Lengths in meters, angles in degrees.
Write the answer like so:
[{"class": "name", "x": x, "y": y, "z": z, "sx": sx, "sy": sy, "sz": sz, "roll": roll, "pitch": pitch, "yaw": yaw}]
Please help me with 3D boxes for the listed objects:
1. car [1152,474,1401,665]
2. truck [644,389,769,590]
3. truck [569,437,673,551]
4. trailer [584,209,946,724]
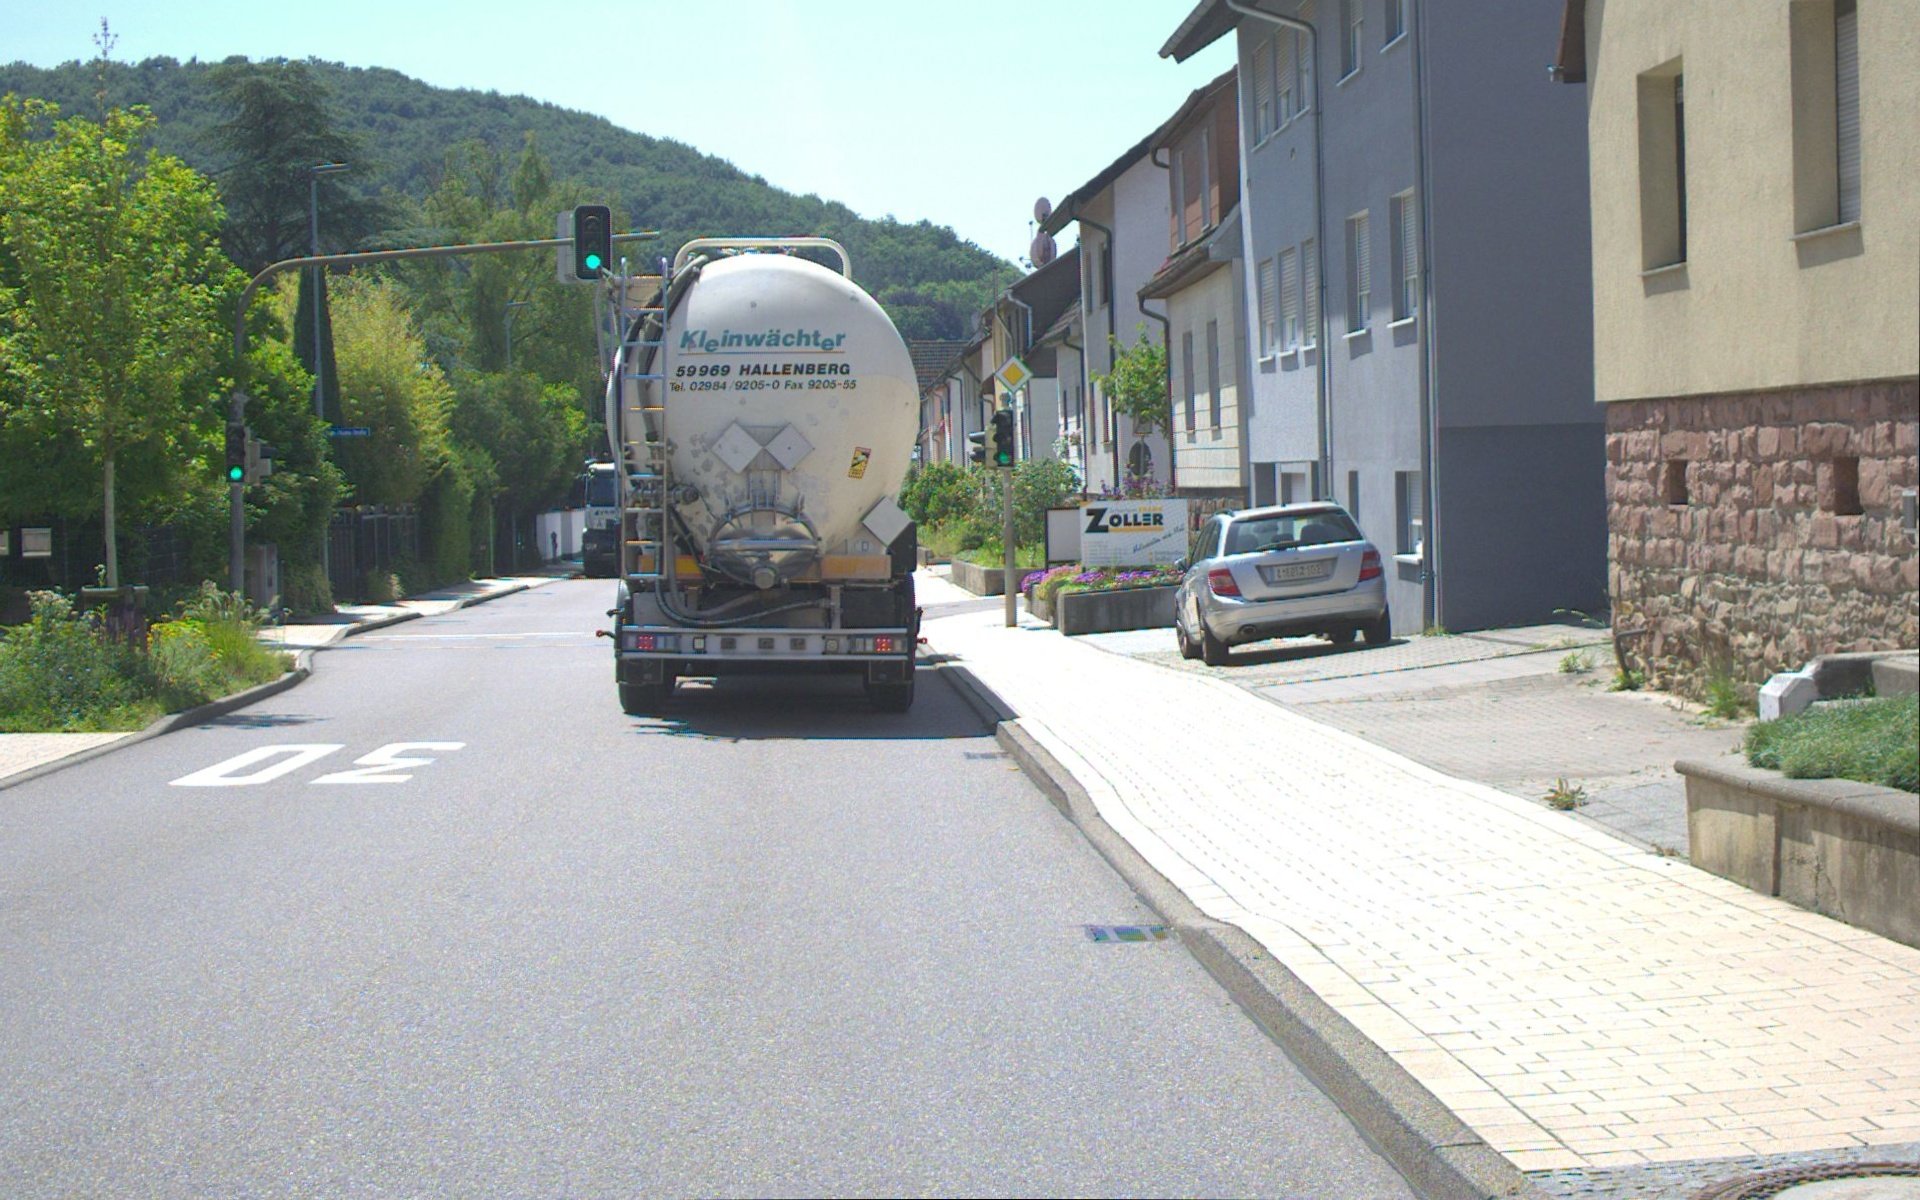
[{"class": "car", "x": 3.000, "y": -0.323, "z": 33.433, "sx": 1.791, "sy": 1.536, "sz": 4.520, "roll": -7, "pitch": 1, "yaw": -1}, {"class": "truck", "x": -6.296, "y": -2.703, "z": 86.187, "sx": 2.846, "sy": 4.662, "sz": 11.341, "roll": -1, "pitch": 1, "yaw": -4}, {"class": "truck", "x": -10.415, "y": -3.240, "z": 106.285, "sx": 2.728, "sy": 3.360, "sz": 8.636, "roll": 0, "pitch": 1, "yaw": -2}, {"class": "trailer", "x": -1.863, "y": -1.159, "z": 31.866, "sx": 2.796, "sy": 3.987, "sz": 10.326, "roll": 0, "pitch": 1, "yaw": -4}]
